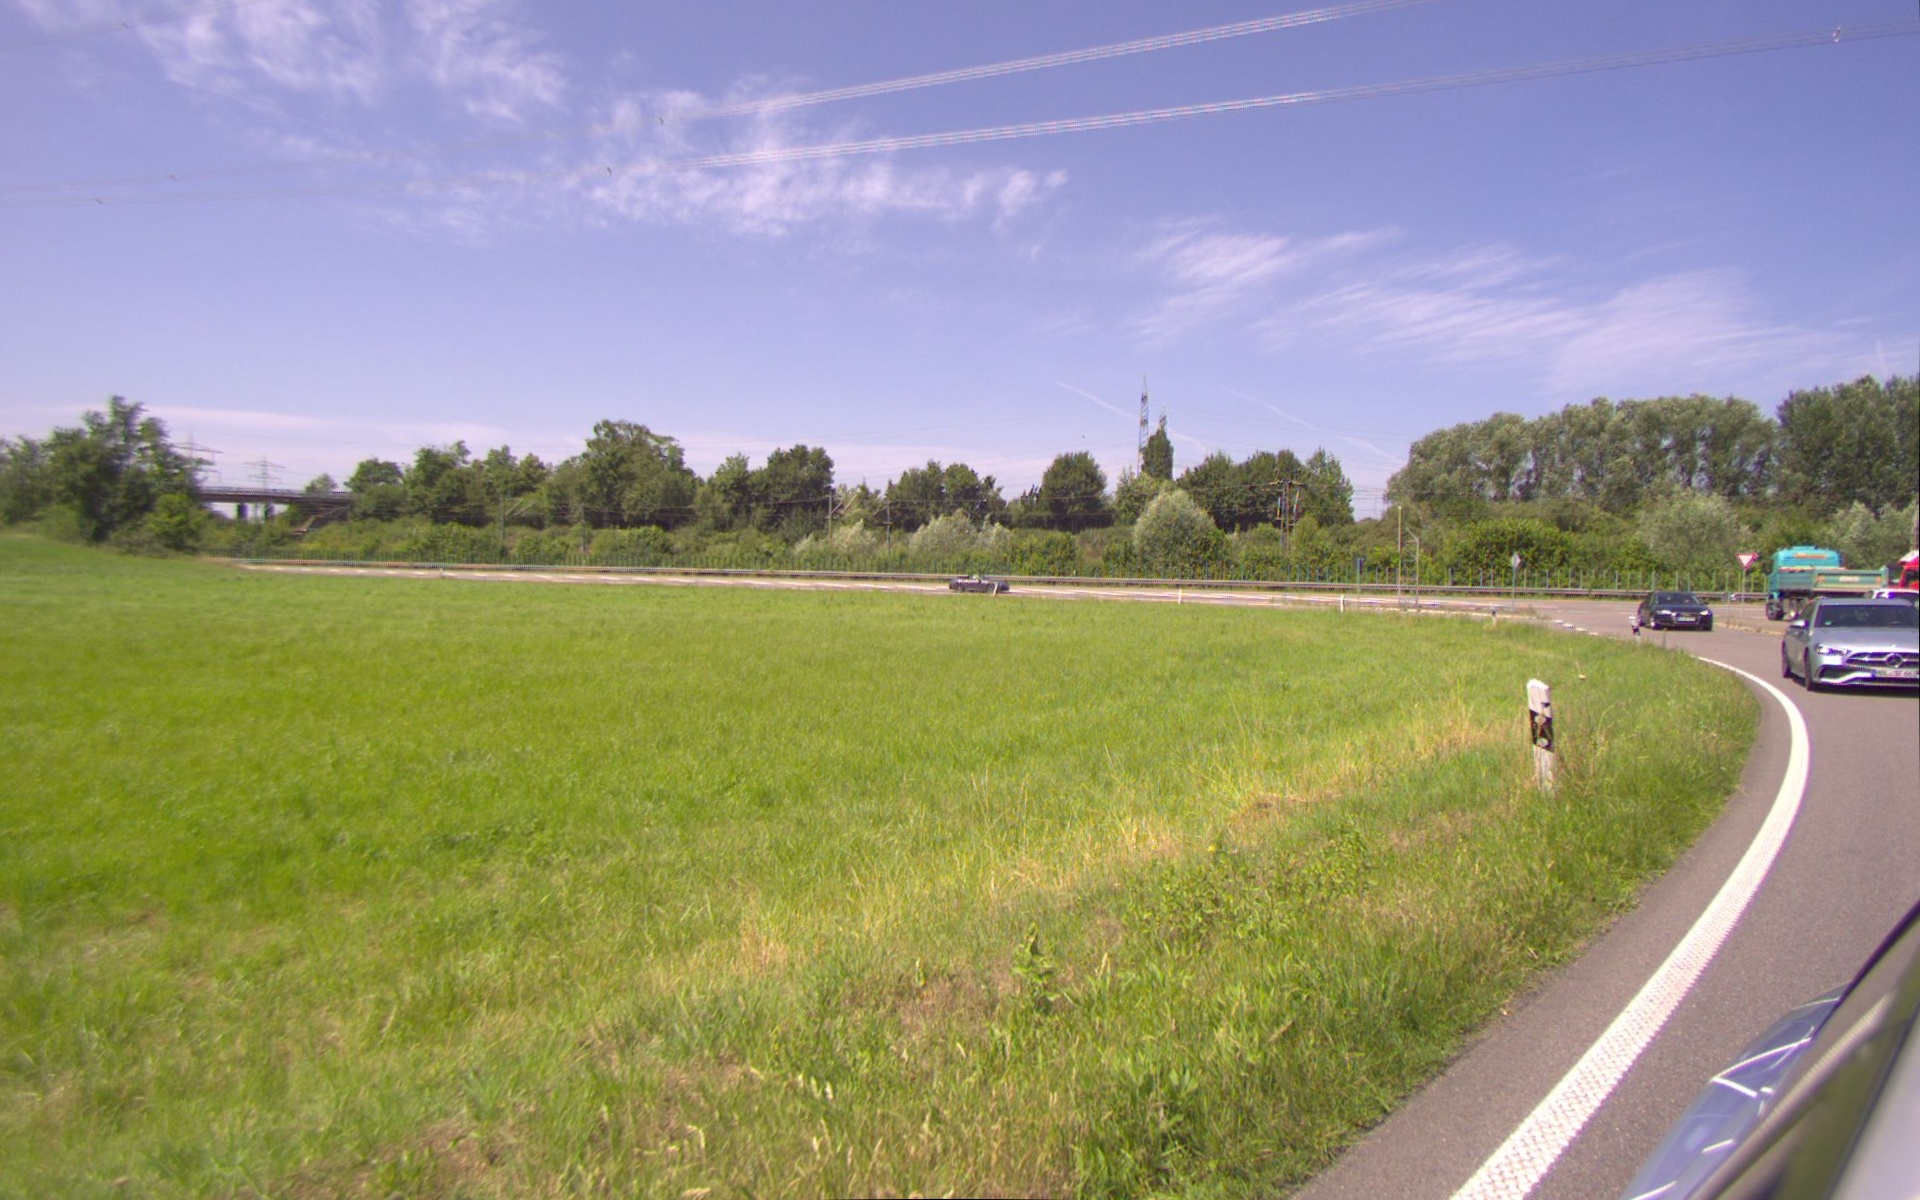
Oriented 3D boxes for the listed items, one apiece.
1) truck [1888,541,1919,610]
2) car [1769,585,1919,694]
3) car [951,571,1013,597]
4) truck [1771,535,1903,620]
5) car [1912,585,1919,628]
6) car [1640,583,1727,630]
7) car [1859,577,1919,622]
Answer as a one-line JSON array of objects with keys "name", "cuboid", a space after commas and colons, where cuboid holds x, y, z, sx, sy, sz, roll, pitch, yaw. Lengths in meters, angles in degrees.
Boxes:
[{"name": "truck", "cuboid": [55.169, -1.325, 52.890, 9.442, 3.624, 2.706, 0, 1, 22]}, {"name": "car", "cuboid": [14.794, 0.544, 16.405, 1.808, 1.505, 4.110, 1, 2, 27]}, {"name": "car", "cuboid": [1.551, -1.148, 71.440, 3.958, 1.745, 1.711, 2, 2, 25]}, {"name": "truck", "cuboid": [39.562, -1.047, 45.965, 2.585, 3.514, 7.541, 2, 2, 26]}, {"name": "car", "cuboid": [33.390, 0.246, 33.825, 1.626, 1.477, 3.959, 2, 1, 34]}, {"name": "car", "cuboid": [26.583, 0.190, 37.320, 1.806, 1.457, 4.116, 2, 3, 24]}, {"name": "car", "cuboid": [36.530, -0.038, 39.339, 1.766, 1.641, 4.278, 0, 1, 34]}]
